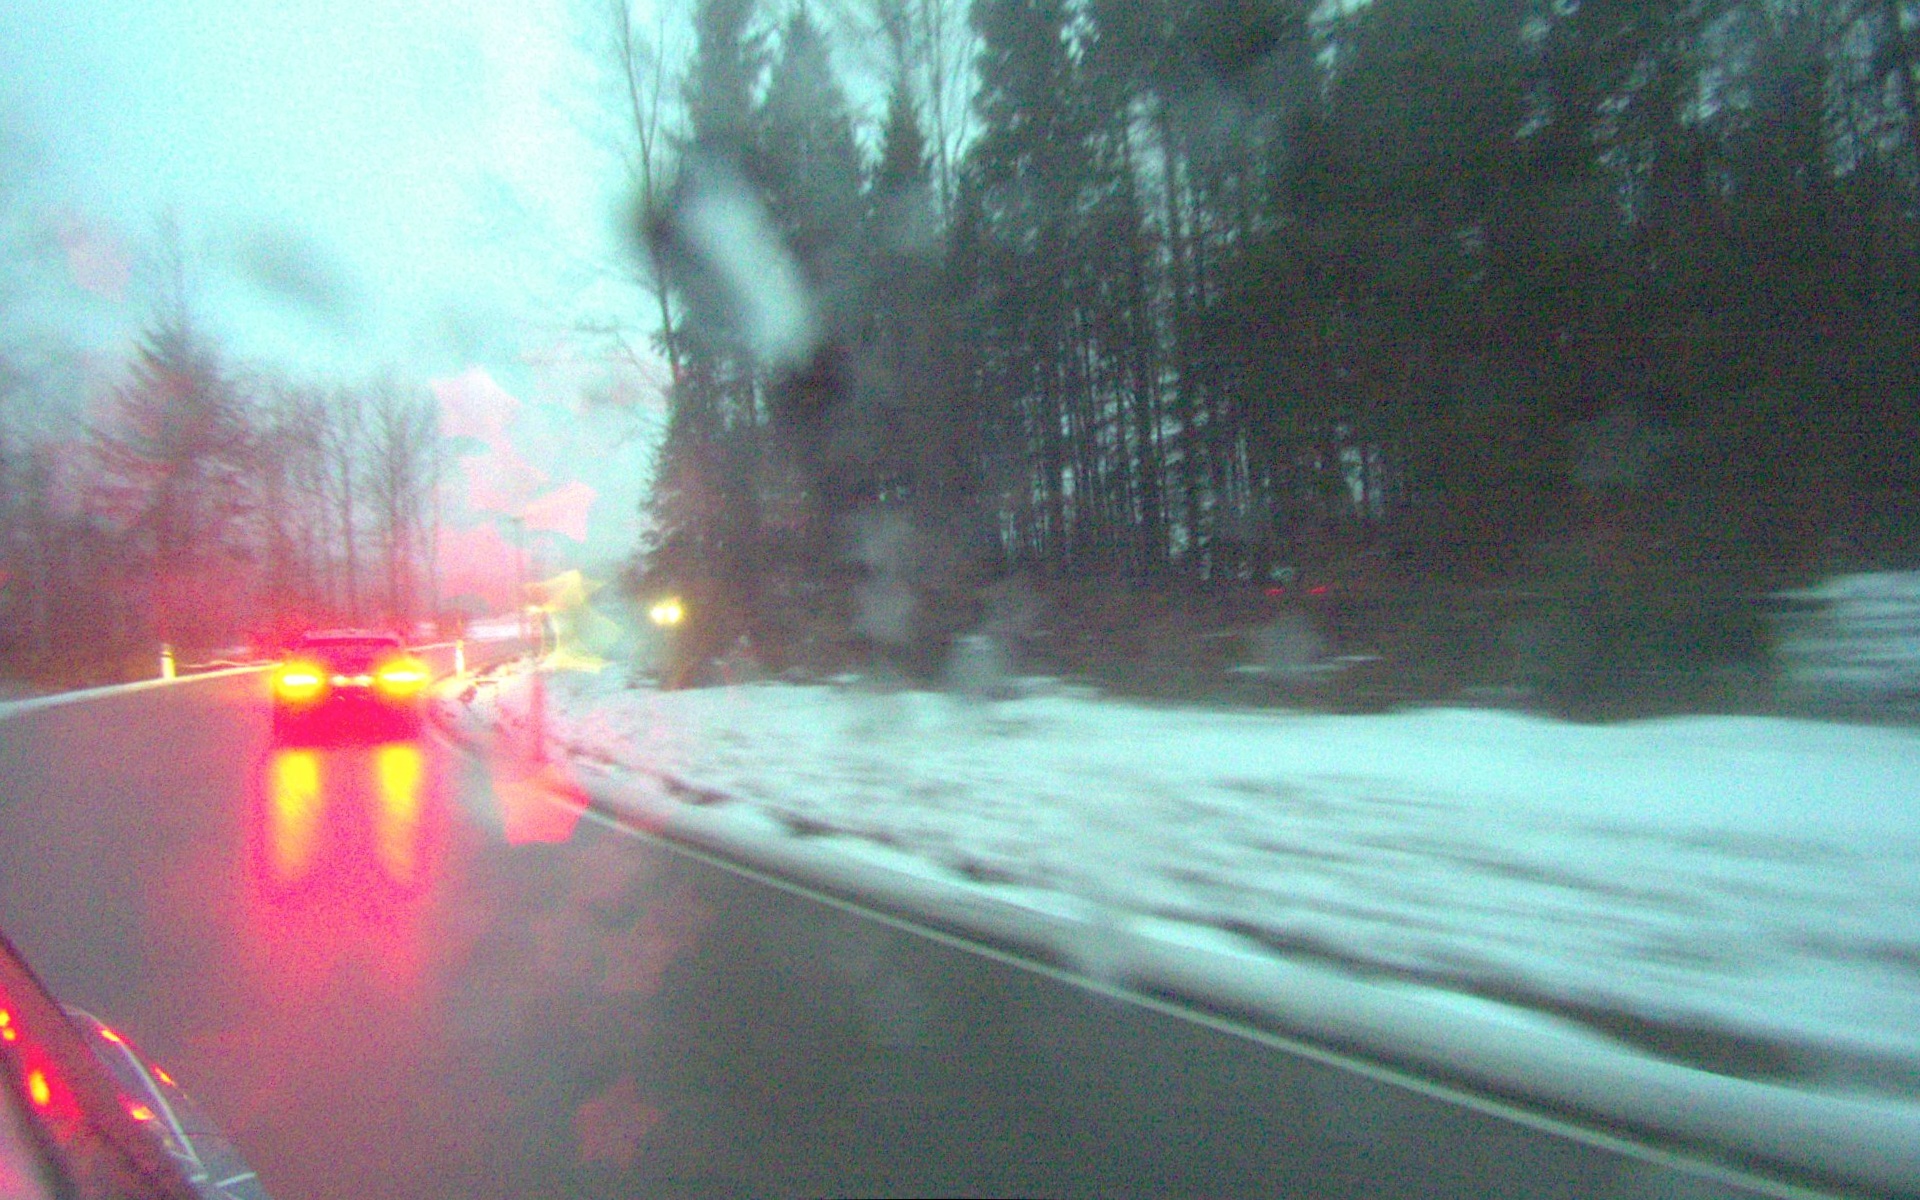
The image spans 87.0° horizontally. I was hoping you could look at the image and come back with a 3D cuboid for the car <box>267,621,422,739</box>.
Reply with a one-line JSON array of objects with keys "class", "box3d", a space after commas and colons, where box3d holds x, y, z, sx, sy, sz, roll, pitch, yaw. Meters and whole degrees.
[{"class": "car", "box3d": [-9.431, 1.110, 15.354, 1.750, 1.504, 4.560, 1, -2, -34]}]
